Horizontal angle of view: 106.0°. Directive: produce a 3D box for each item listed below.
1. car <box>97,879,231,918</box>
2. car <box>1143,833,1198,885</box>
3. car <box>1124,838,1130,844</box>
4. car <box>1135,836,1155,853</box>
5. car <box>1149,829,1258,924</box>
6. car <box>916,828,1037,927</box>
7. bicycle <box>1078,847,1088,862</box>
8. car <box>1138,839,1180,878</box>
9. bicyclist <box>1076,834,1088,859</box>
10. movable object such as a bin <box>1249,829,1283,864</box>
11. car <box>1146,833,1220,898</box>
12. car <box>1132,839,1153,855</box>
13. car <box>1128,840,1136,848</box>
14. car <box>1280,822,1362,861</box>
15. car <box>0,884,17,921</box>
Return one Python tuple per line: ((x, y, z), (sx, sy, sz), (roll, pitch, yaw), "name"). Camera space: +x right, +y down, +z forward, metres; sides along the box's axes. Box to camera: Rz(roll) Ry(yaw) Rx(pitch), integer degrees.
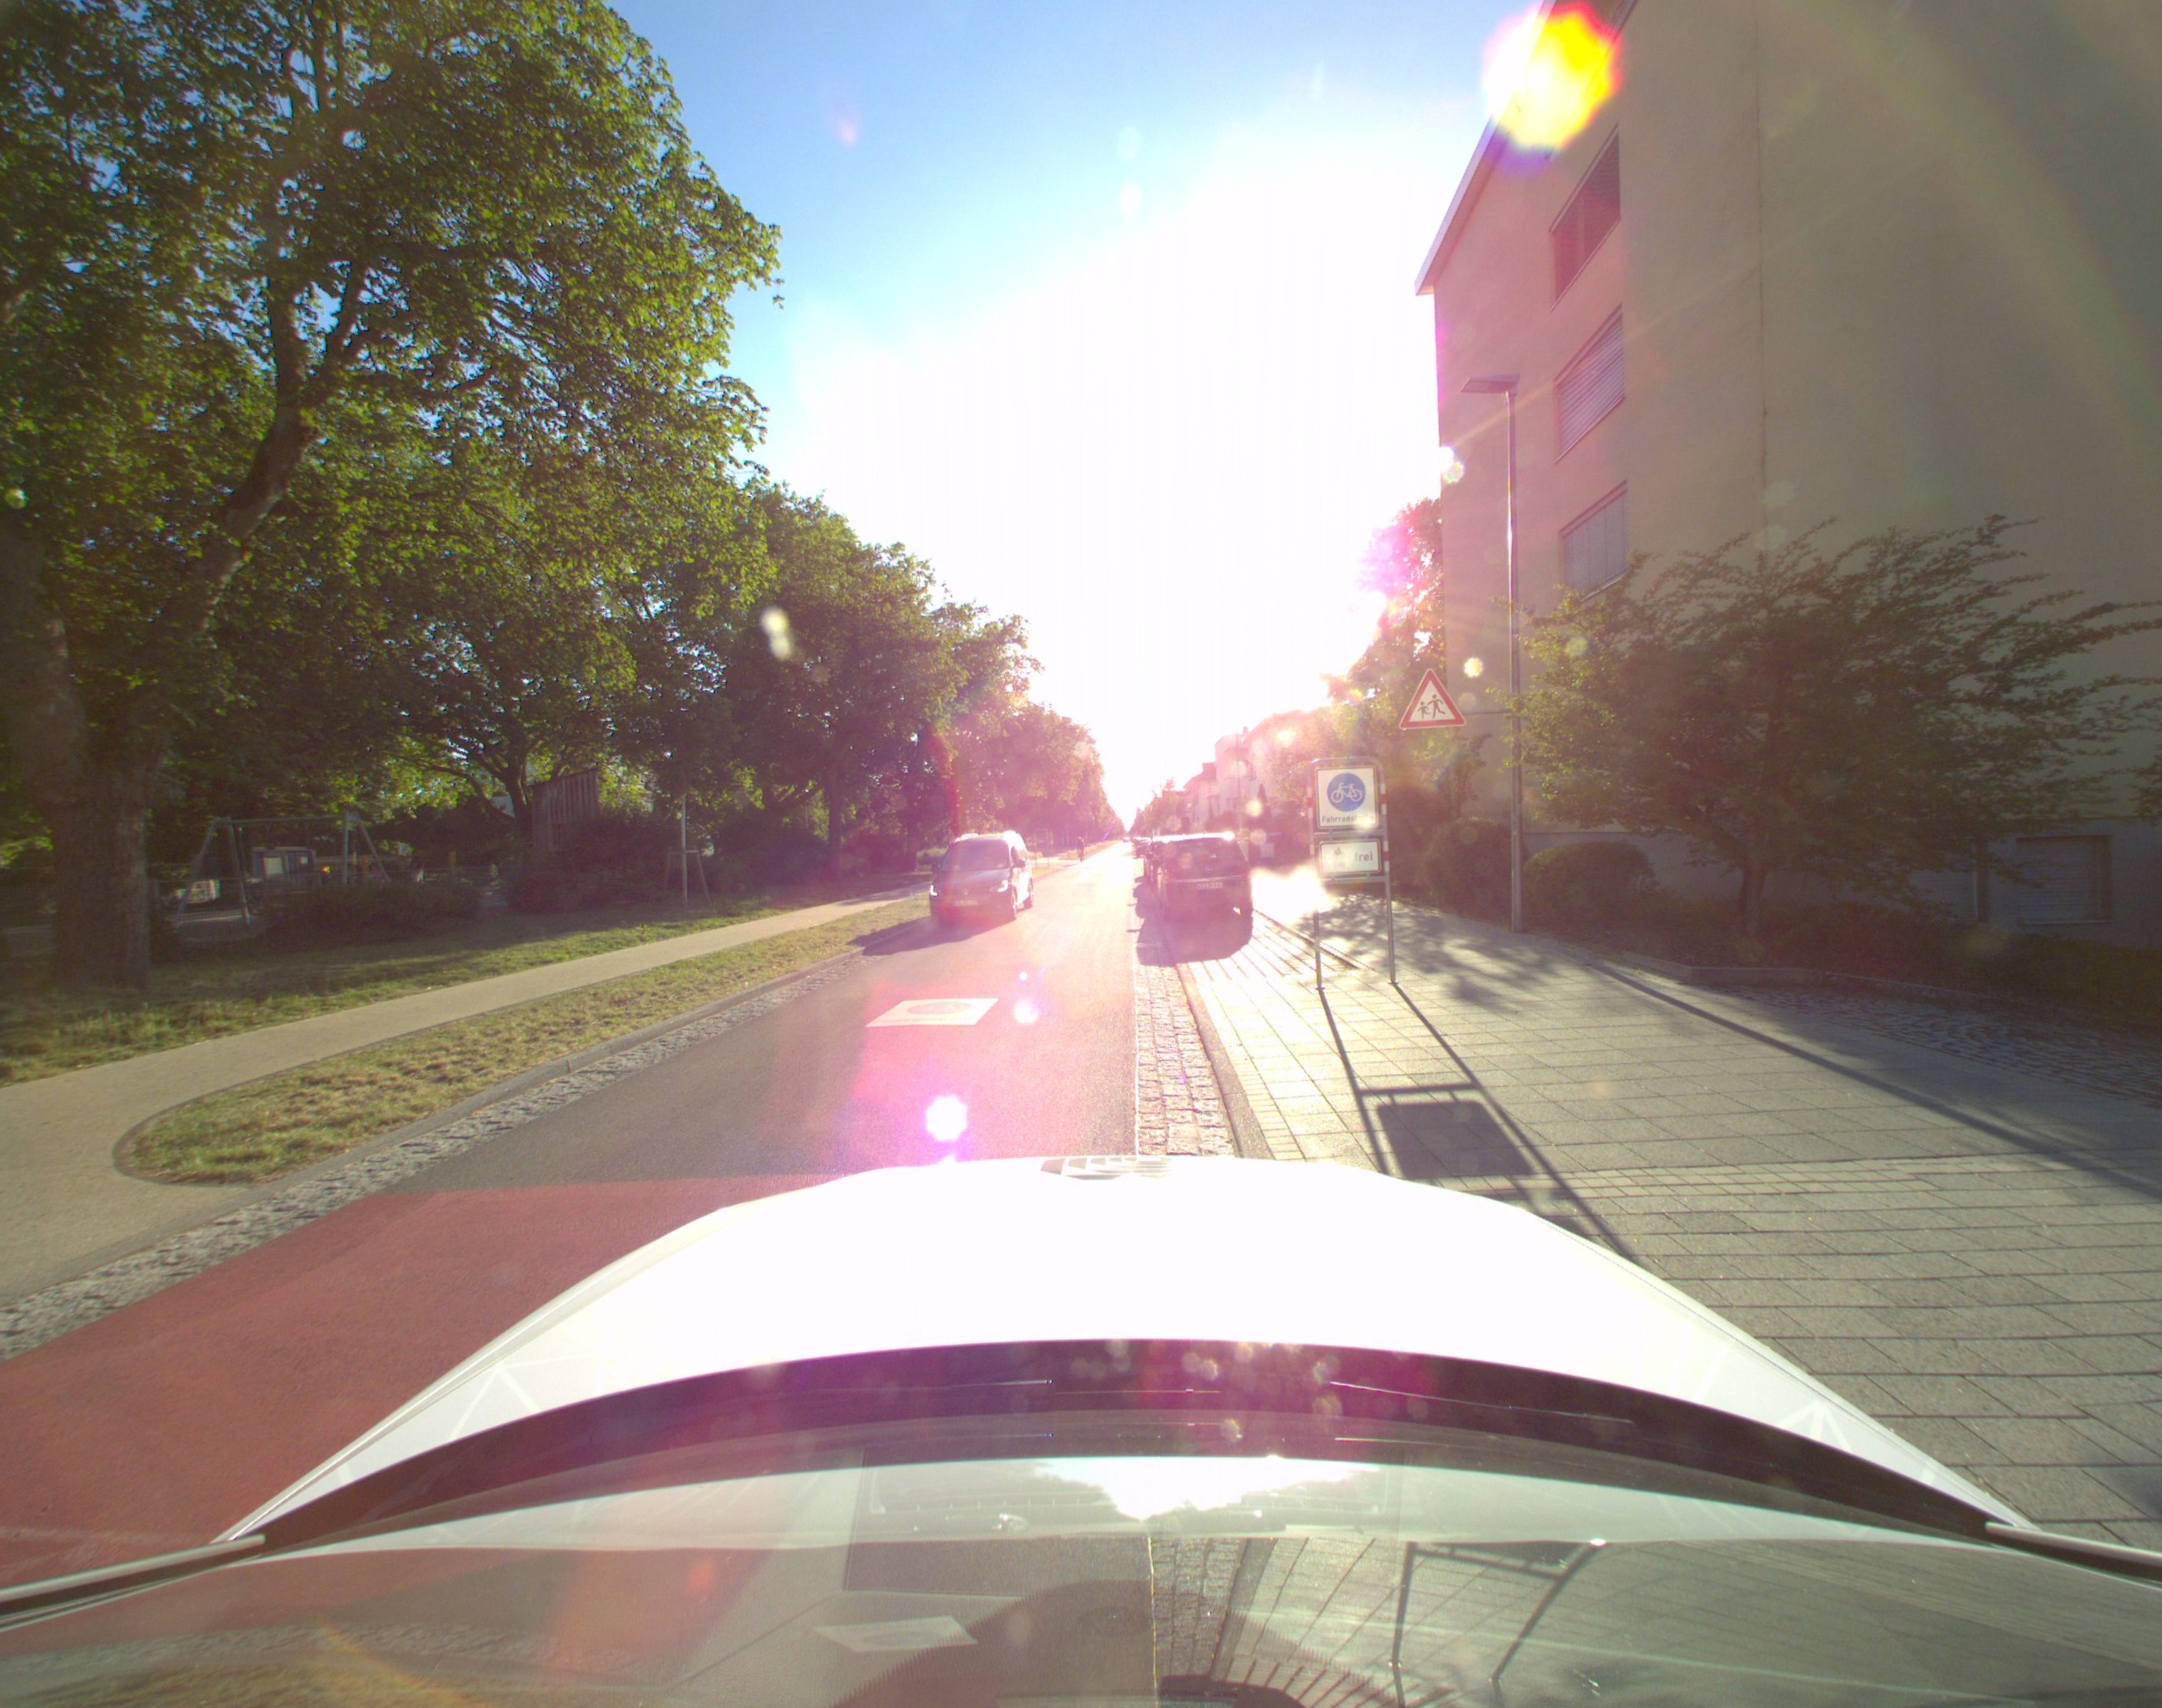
((-40.852, 1.947, 36.432), (1.515, 1.367, 3.758), (-2, 1, 5), "car")
((3.049, 0.118, 28.298), (1.671, 1.555, 4.136), (-4, 1, 5), "car")
((13.603, -3.825, 240.355), (1.645, 1.541, 3.270), (-1, 1, 3), "car")
((6.420, -0.991, 81.686), (1.737, 1.474, 3.925), (-5, 1, 2), "car")
((2.406, 0.370, 16.925), (1.703, 1.610, 4.171), (-4, 1, 2), "car")
((-2.201, 0.432, 18.395), (1.836, 1.847, 4.576), (-4, 0, 2), "car")
((0.132, 0.043, 57.054), (0.554, 1.031, 1.916), (-3, 0, 3), "bicycle")
((3.193, 0.129, 34.005), (1.557, 1.390, 4.379), (-4, 1, 4), "car")
((0.100, -0.527, 56.989), (0.679, 1.672, 1.173), (-3, 0, 3), "bicyclist")
((7.875, -0.342, 34.687), (1.231, 1.432, 1.125), (-2, 1, 5), "movable object such as a bin")
((2.756, 0.249, 22.797), (1.672, 1.555, 4.148), (-4, 1, 3), "car")
((5.345, -0.611, 70.669), (1.767, 1.288, 4.277), (-1, 1, 4), "car")
((10.578, -2.177, 169.198), (1.491, 1.567, 3.271), (-3, 1, 5), "car")
((11.019, -0.576, 37.646), (3.470, 1.641, 1.648), (-2, 1, 11), "car")
((-42.562, 1.943, 30.039), (1.515, 1.367, 3.758), (-2, 1, 5), "car")
